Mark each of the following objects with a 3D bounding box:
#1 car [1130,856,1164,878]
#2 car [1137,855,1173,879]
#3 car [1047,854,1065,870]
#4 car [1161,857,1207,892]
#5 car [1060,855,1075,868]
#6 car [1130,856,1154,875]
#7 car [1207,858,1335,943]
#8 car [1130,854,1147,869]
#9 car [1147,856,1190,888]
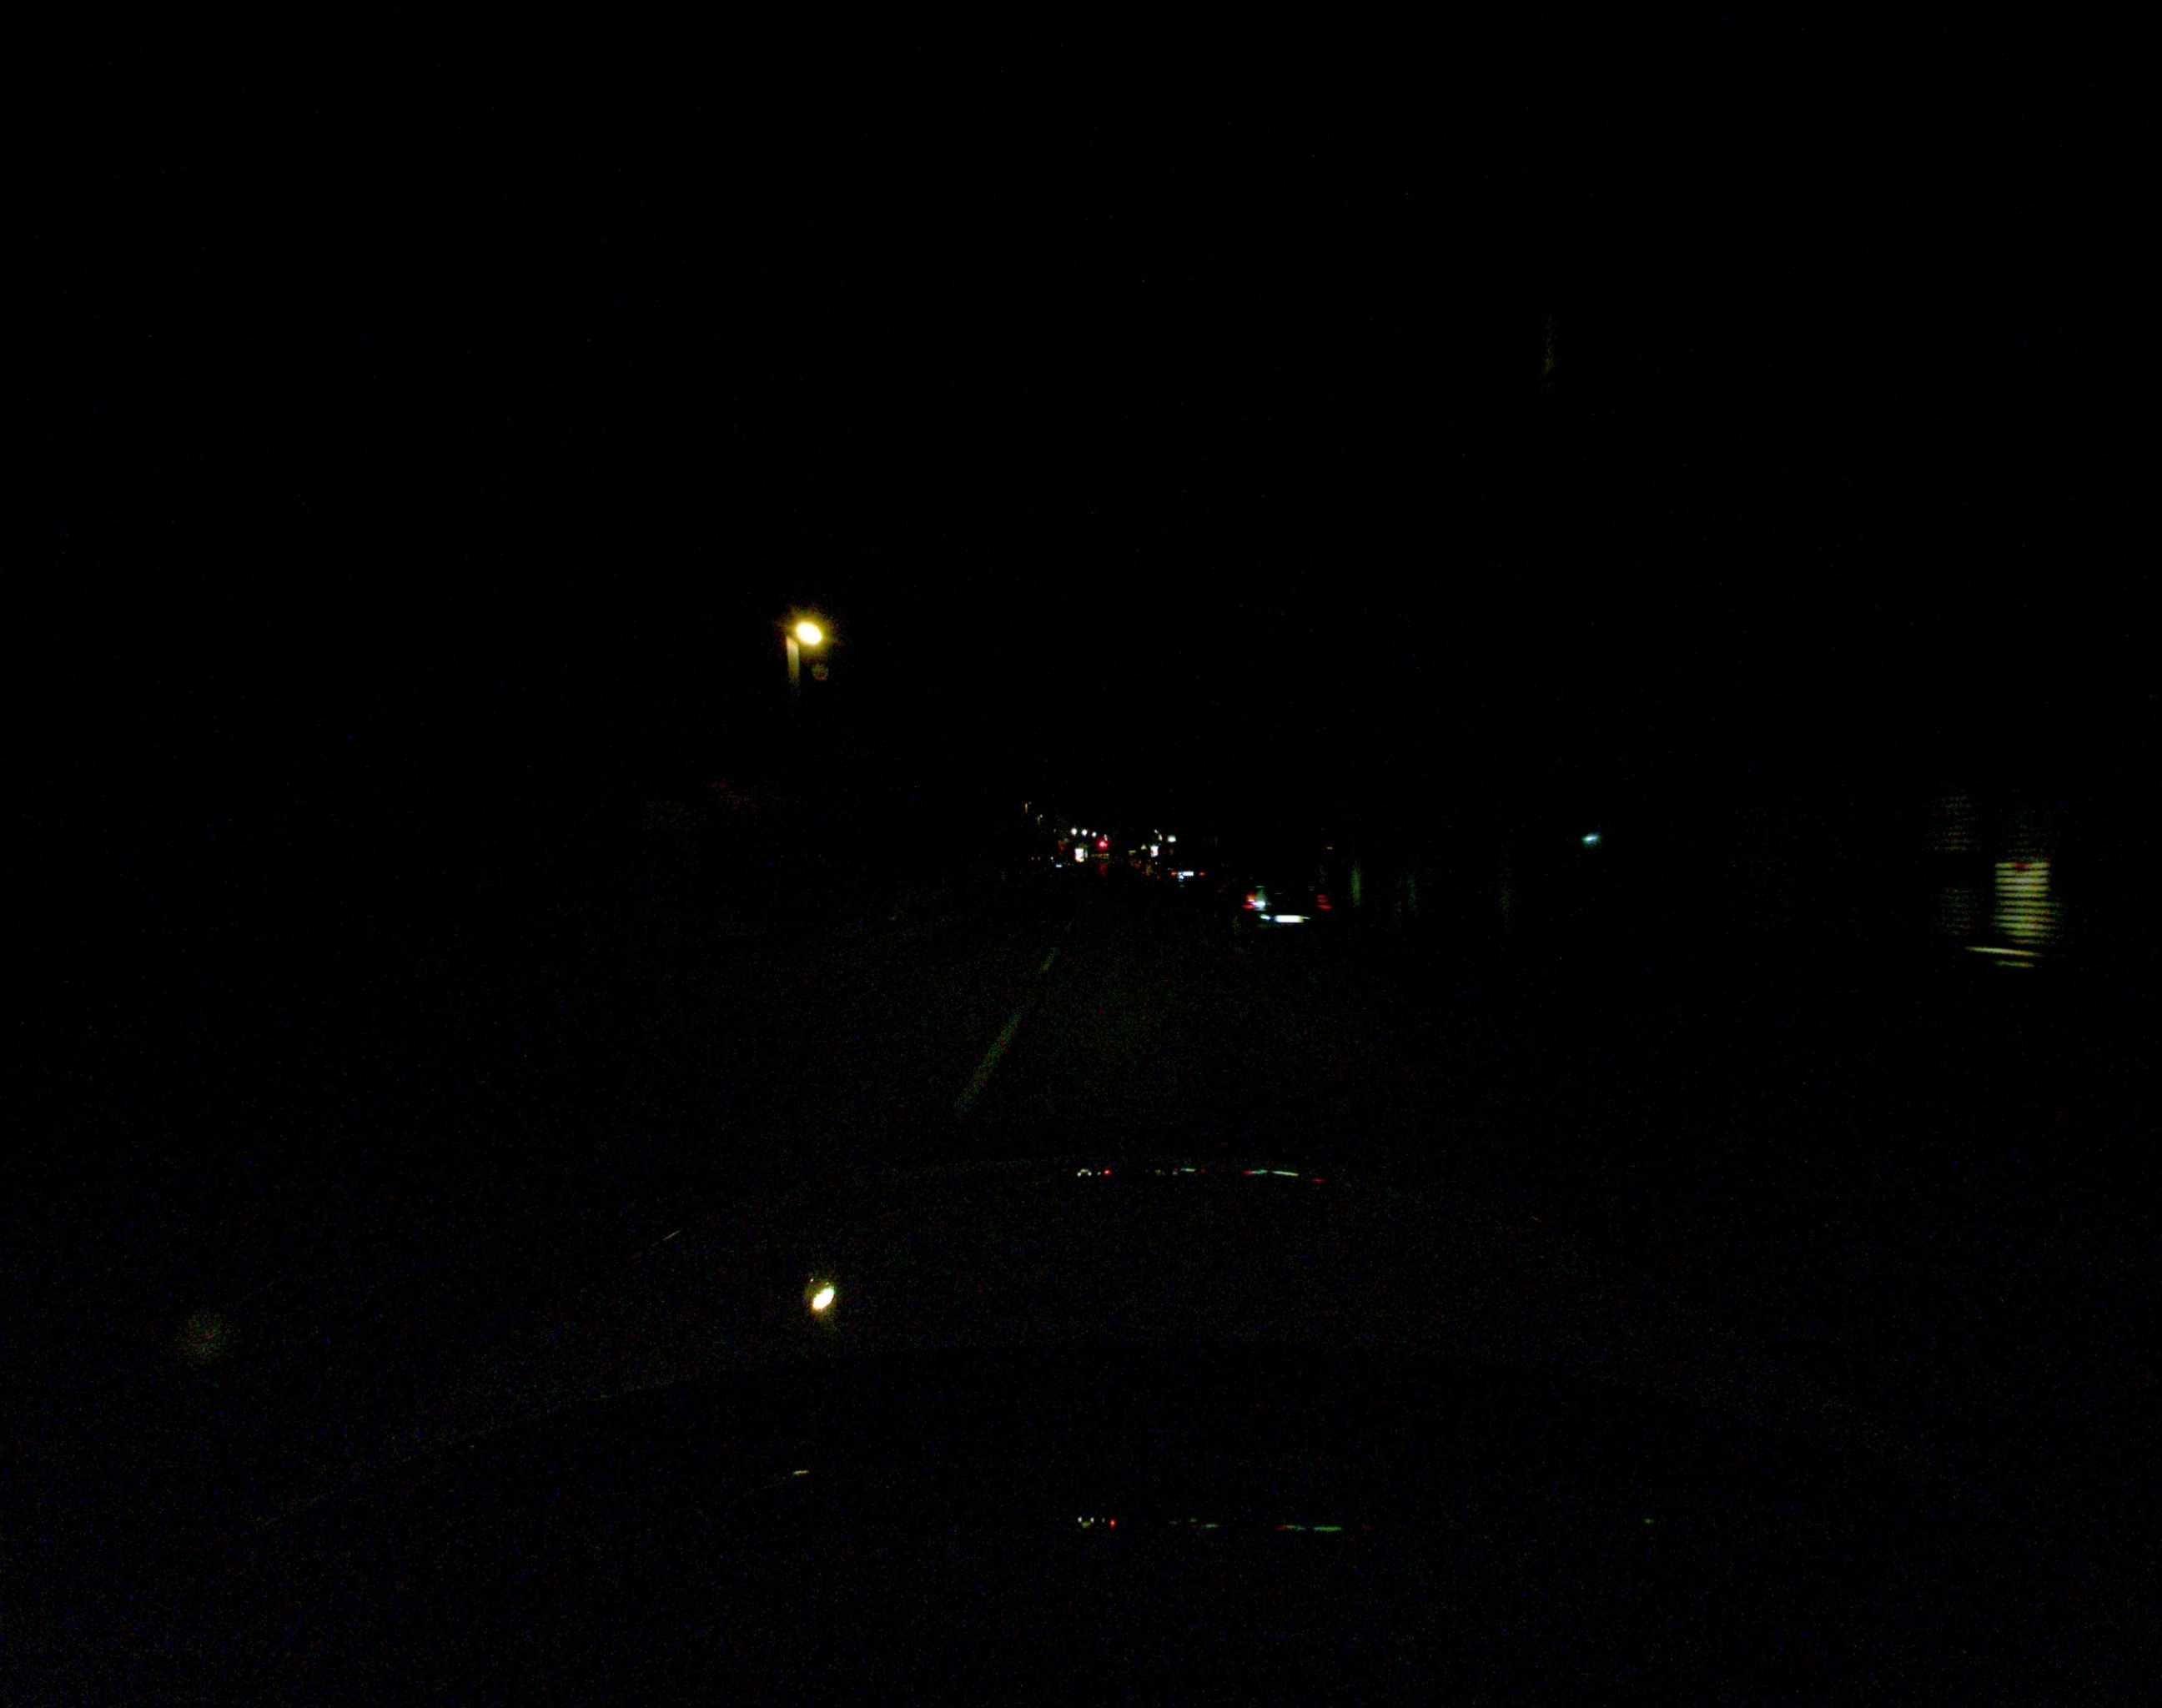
[{"bbox_3d":[4.475,0.872,55.672,1.679,1.448,3.994,0,0,-5],"label":"car"},{"bbox_3d":[4.590,0.776,51.015,1.678,1.448,3.995,0,0,-3],"label":"car"},{"bbox_3d":[-2.488,0.831,82.621,1.748,1.539,3.728,-1,0,-2],"label":"car"},{"bbox_3d":[4.453,0.862,35.561,1.859,1.403,4.007,0,0,6],"label":"car"},{"bbox_3d":[-1.596,0.881,99.735,1.747,1.539,3.731,-1,0,1],"label":"car"},{"bbox_3d":[4.944,0.924,66.846,1.677,1.448,3.999,0,0,0],"label":"car"},{"bbox_3d":[3.557,0.812,15.893,1.624,1.439,3.864,0,0,0],"label":"car"},{"bbox_3d":[6.126,0.829,87.243,1.675,1.539,4.003,-1,0,2],"label":"car"},{"bbox_3d":[4.293,0.856,40.416,1.677,1.448,3.999,0,0,0],"label":"car"}]
